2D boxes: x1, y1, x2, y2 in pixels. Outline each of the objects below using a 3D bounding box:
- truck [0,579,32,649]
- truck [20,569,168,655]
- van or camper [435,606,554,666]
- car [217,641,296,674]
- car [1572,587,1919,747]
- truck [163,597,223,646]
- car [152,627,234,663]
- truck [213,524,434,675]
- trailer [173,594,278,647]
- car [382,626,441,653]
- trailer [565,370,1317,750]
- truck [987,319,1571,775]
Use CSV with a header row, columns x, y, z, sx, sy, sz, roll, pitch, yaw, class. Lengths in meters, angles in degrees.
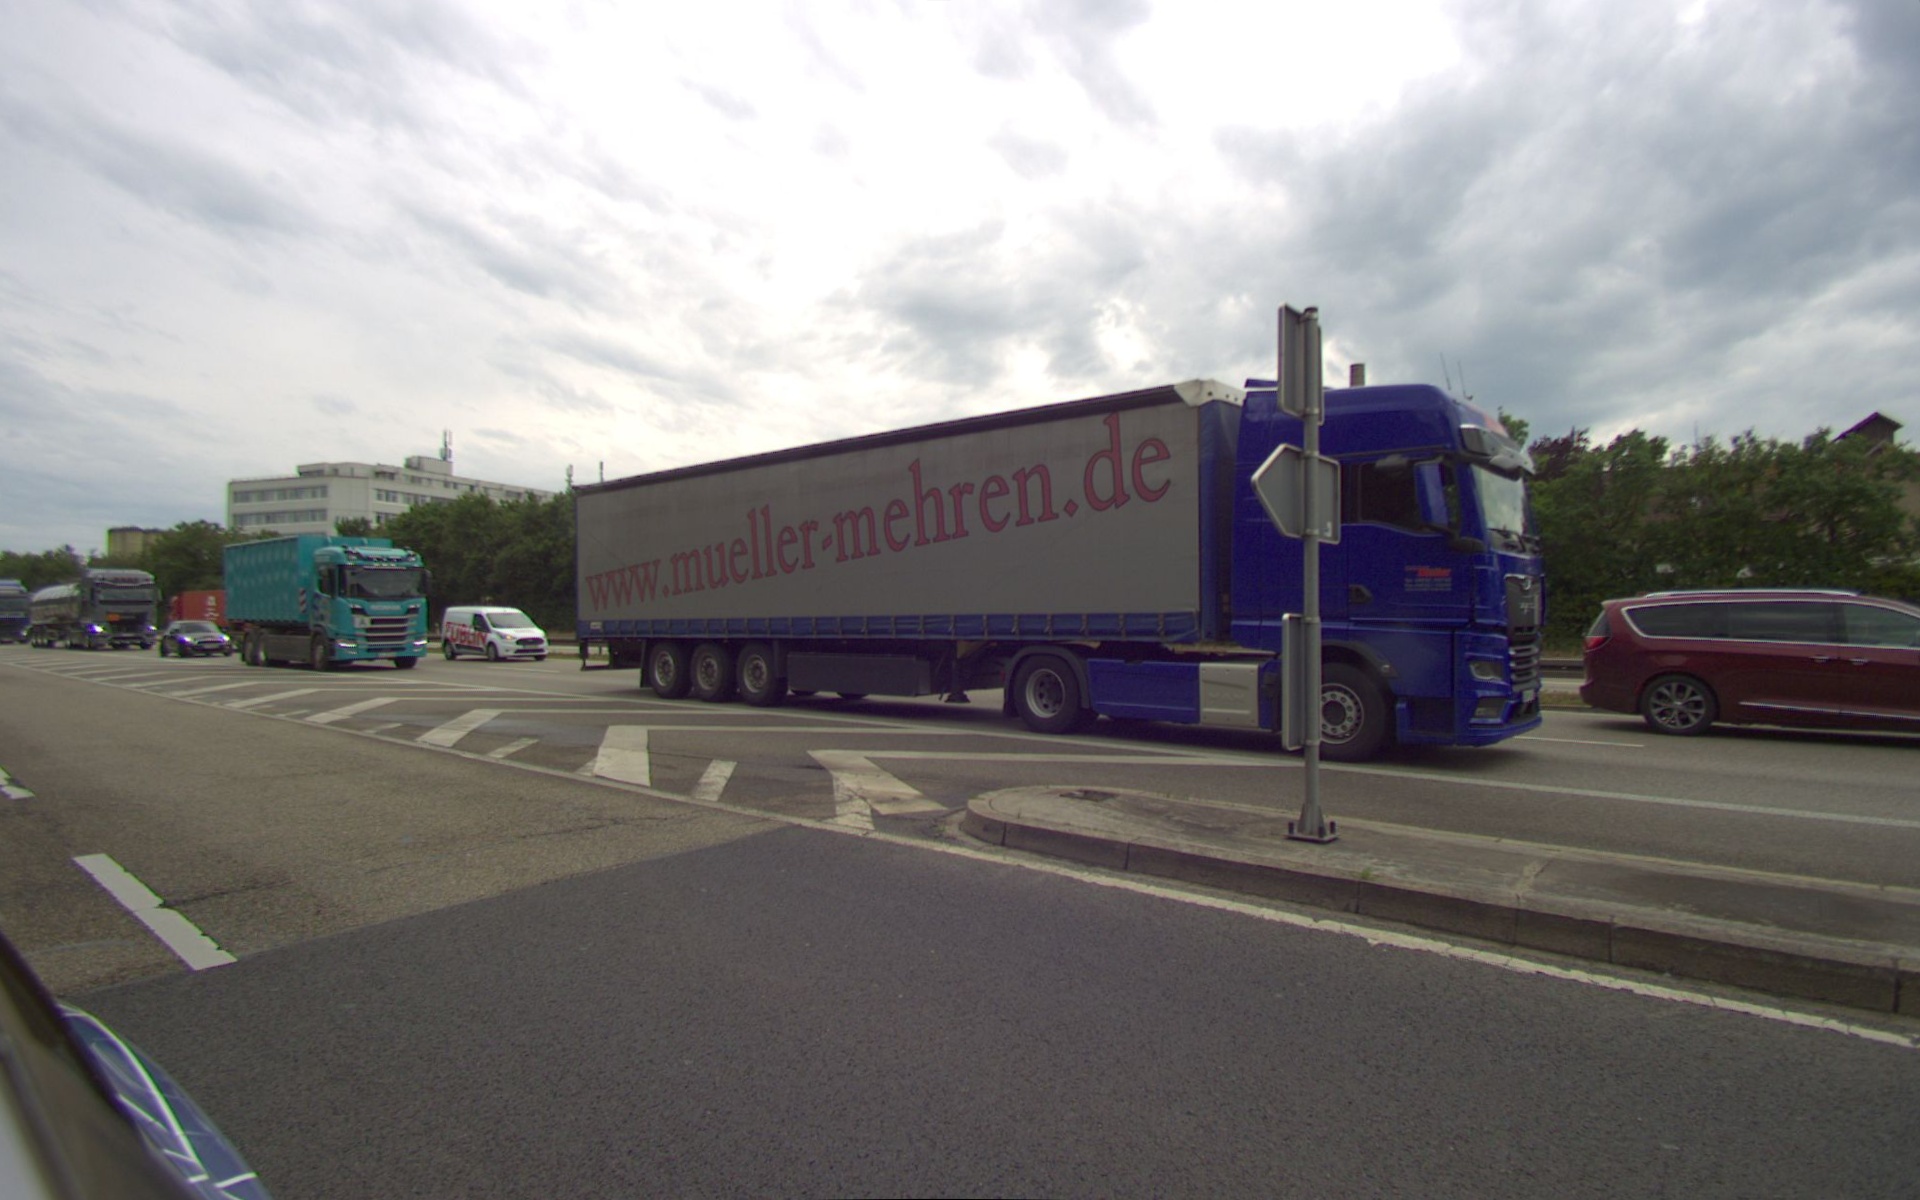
x,y,z,sx,sy,sz,roll,pitch,yaw,class
-63.893,0.950,65.635,13.979,4.263,2.781,-1,-2,36,truck
-44.667,0.688,51.980,13.128,3.955,3.287,-1,-2,38,truck
-15.750,1.187,34.143,4.584,1.907,1.700,-1,-2,37,van or camper
-33.255,2.699,47.821,4.048,1.444,1.875,-1,-2,37,car
10.220,0.732,11.762,5.082,1.691,1.766,-1,-2,41,car
-65.838,1.837,86.858,4.895,4.095,2.739,-1,-2,35,truck
-30.338,1.745,40.008,3.996,1.332,1.735,-1,-2,40,car
-19.863,0.090,31.210,10.114,4.031,2.666,-1,-2,39,truck
-60.498,1.713,83.168,13.320,4.095,2.741,-1,-2,35,trailer
-29.642,2.105,54.648,3.558,1.444,1.479,-1,-2,37,car
-1.641,-0.284,16.234,13.913,4.005,2.645,-1,-2,41,trailer
3.441,-0.400,11.795,5.924,3.991,2.641,-1,-2,41,truck
